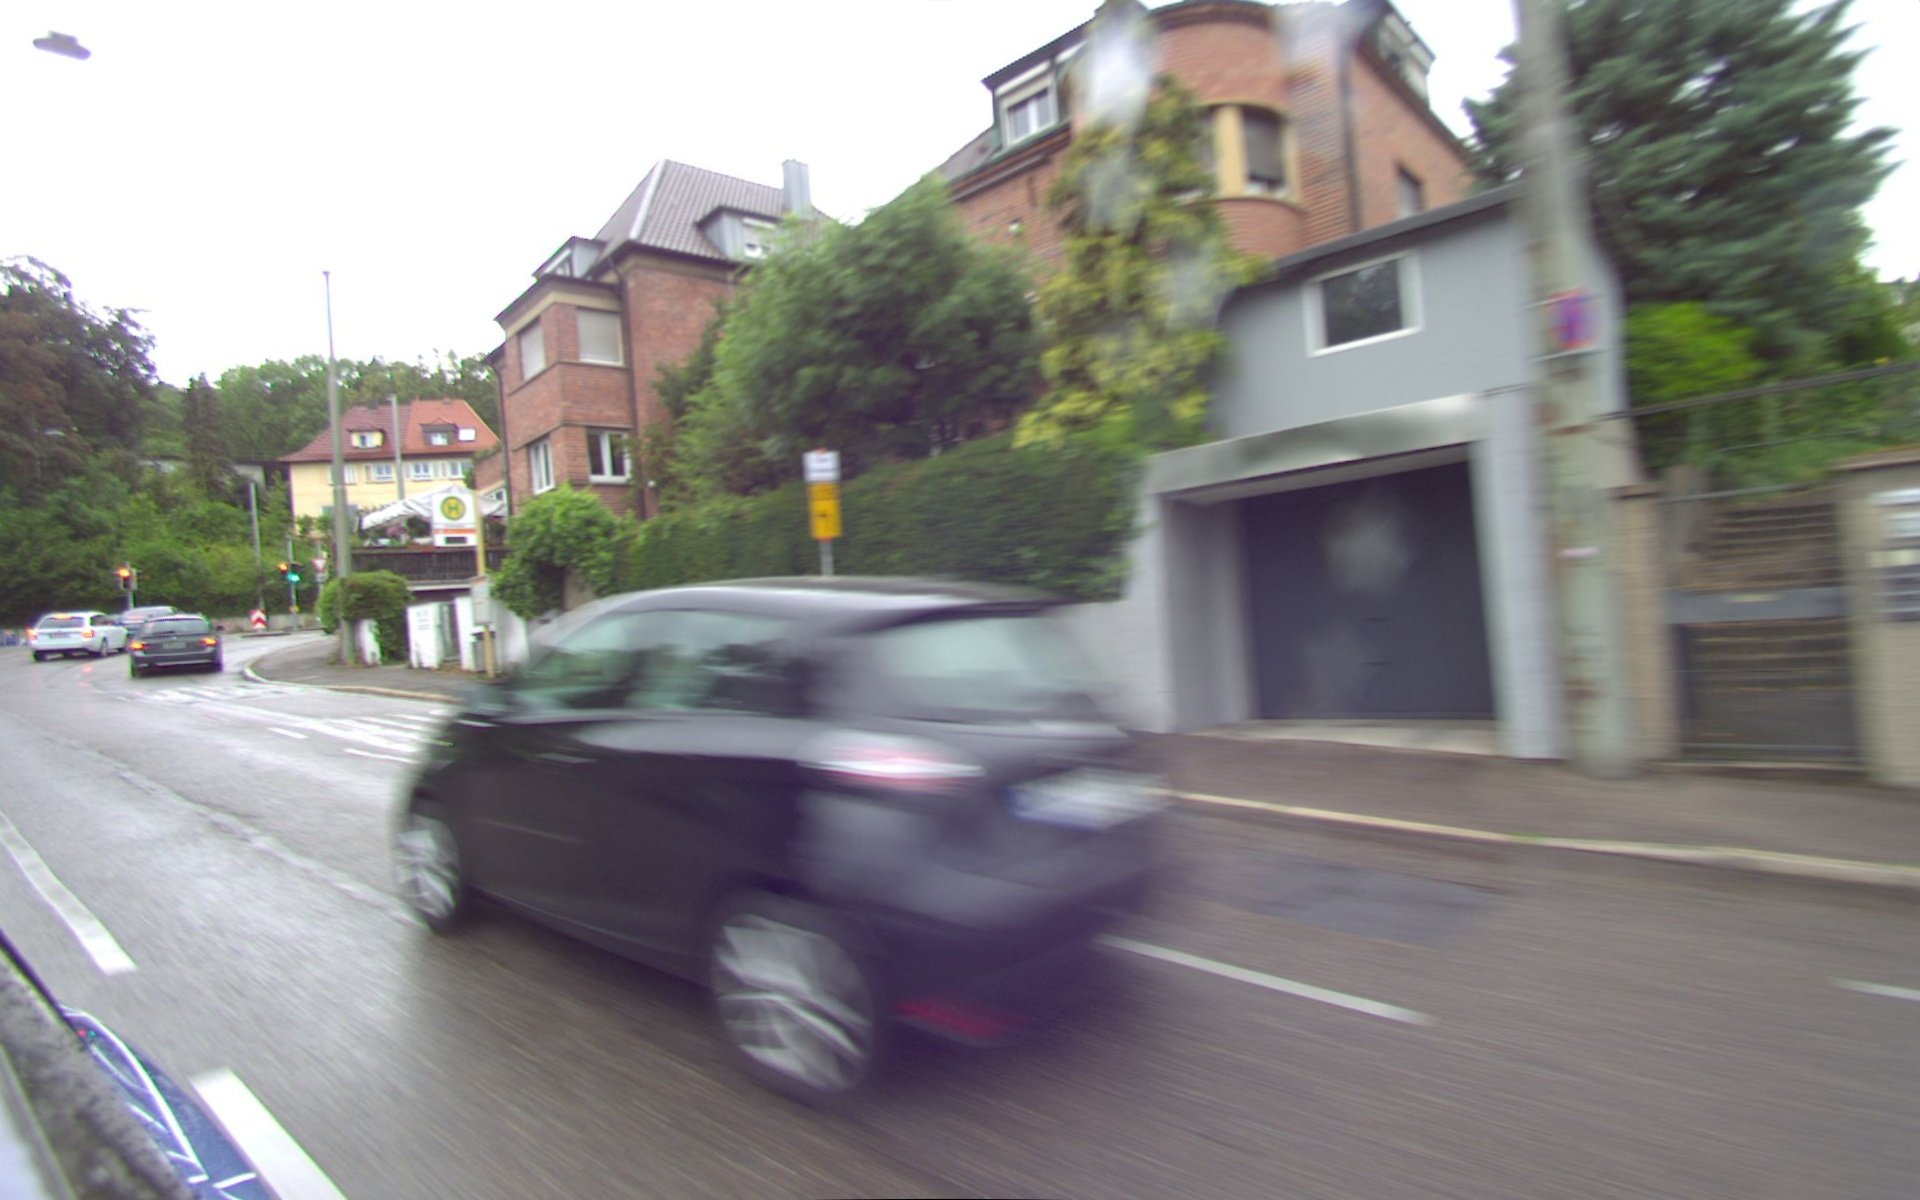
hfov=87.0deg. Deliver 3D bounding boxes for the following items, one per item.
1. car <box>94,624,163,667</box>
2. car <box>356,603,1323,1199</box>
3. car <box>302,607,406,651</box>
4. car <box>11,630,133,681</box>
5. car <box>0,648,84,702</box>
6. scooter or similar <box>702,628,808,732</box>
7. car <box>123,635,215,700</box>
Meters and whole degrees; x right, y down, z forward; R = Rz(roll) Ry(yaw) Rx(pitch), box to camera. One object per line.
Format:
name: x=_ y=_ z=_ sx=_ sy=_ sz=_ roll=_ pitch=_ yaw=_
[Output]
car: x=-31.992 y=1.693 z=39.039 sx=1.835 sy=1.405 sz=4.606 roll=-3 pitch=1 yaw=-37
car: x=-0.814 y=0.875 z=4.211 sx=3.973 sy=1.532 sz=1.749 roll=-3 pitch=-2 yaw=41
car: x=-26.124 y=1.212 z=43.819 sx=1.693 sy=1.597 sz=4.458 roll=-3 pitch=1 yaw=2
car: x=-28.742 y=1.733 z=32.935 sx=1.821 sy=1.485 sz=4.455 roll=-1 pitch=-1 yaw=-25
car: x=-42.151 y=3.417 z=45.601 sx=1.970 sy=2.028 sz=4.004 roll=-8 pitch=-5 yaw=-6
scooter or similar: x=-2.558 y=0.974 z=12.570 sx=1.435 sy=1.213 sz=0.517 roll=-3 pitch=-2 yaw=42
car: x=-20.219 y=1.647 z=25.877 sx=1.715 sy=1.462 sz=4.624 roll=0 pitch=-1 yaw=-39
